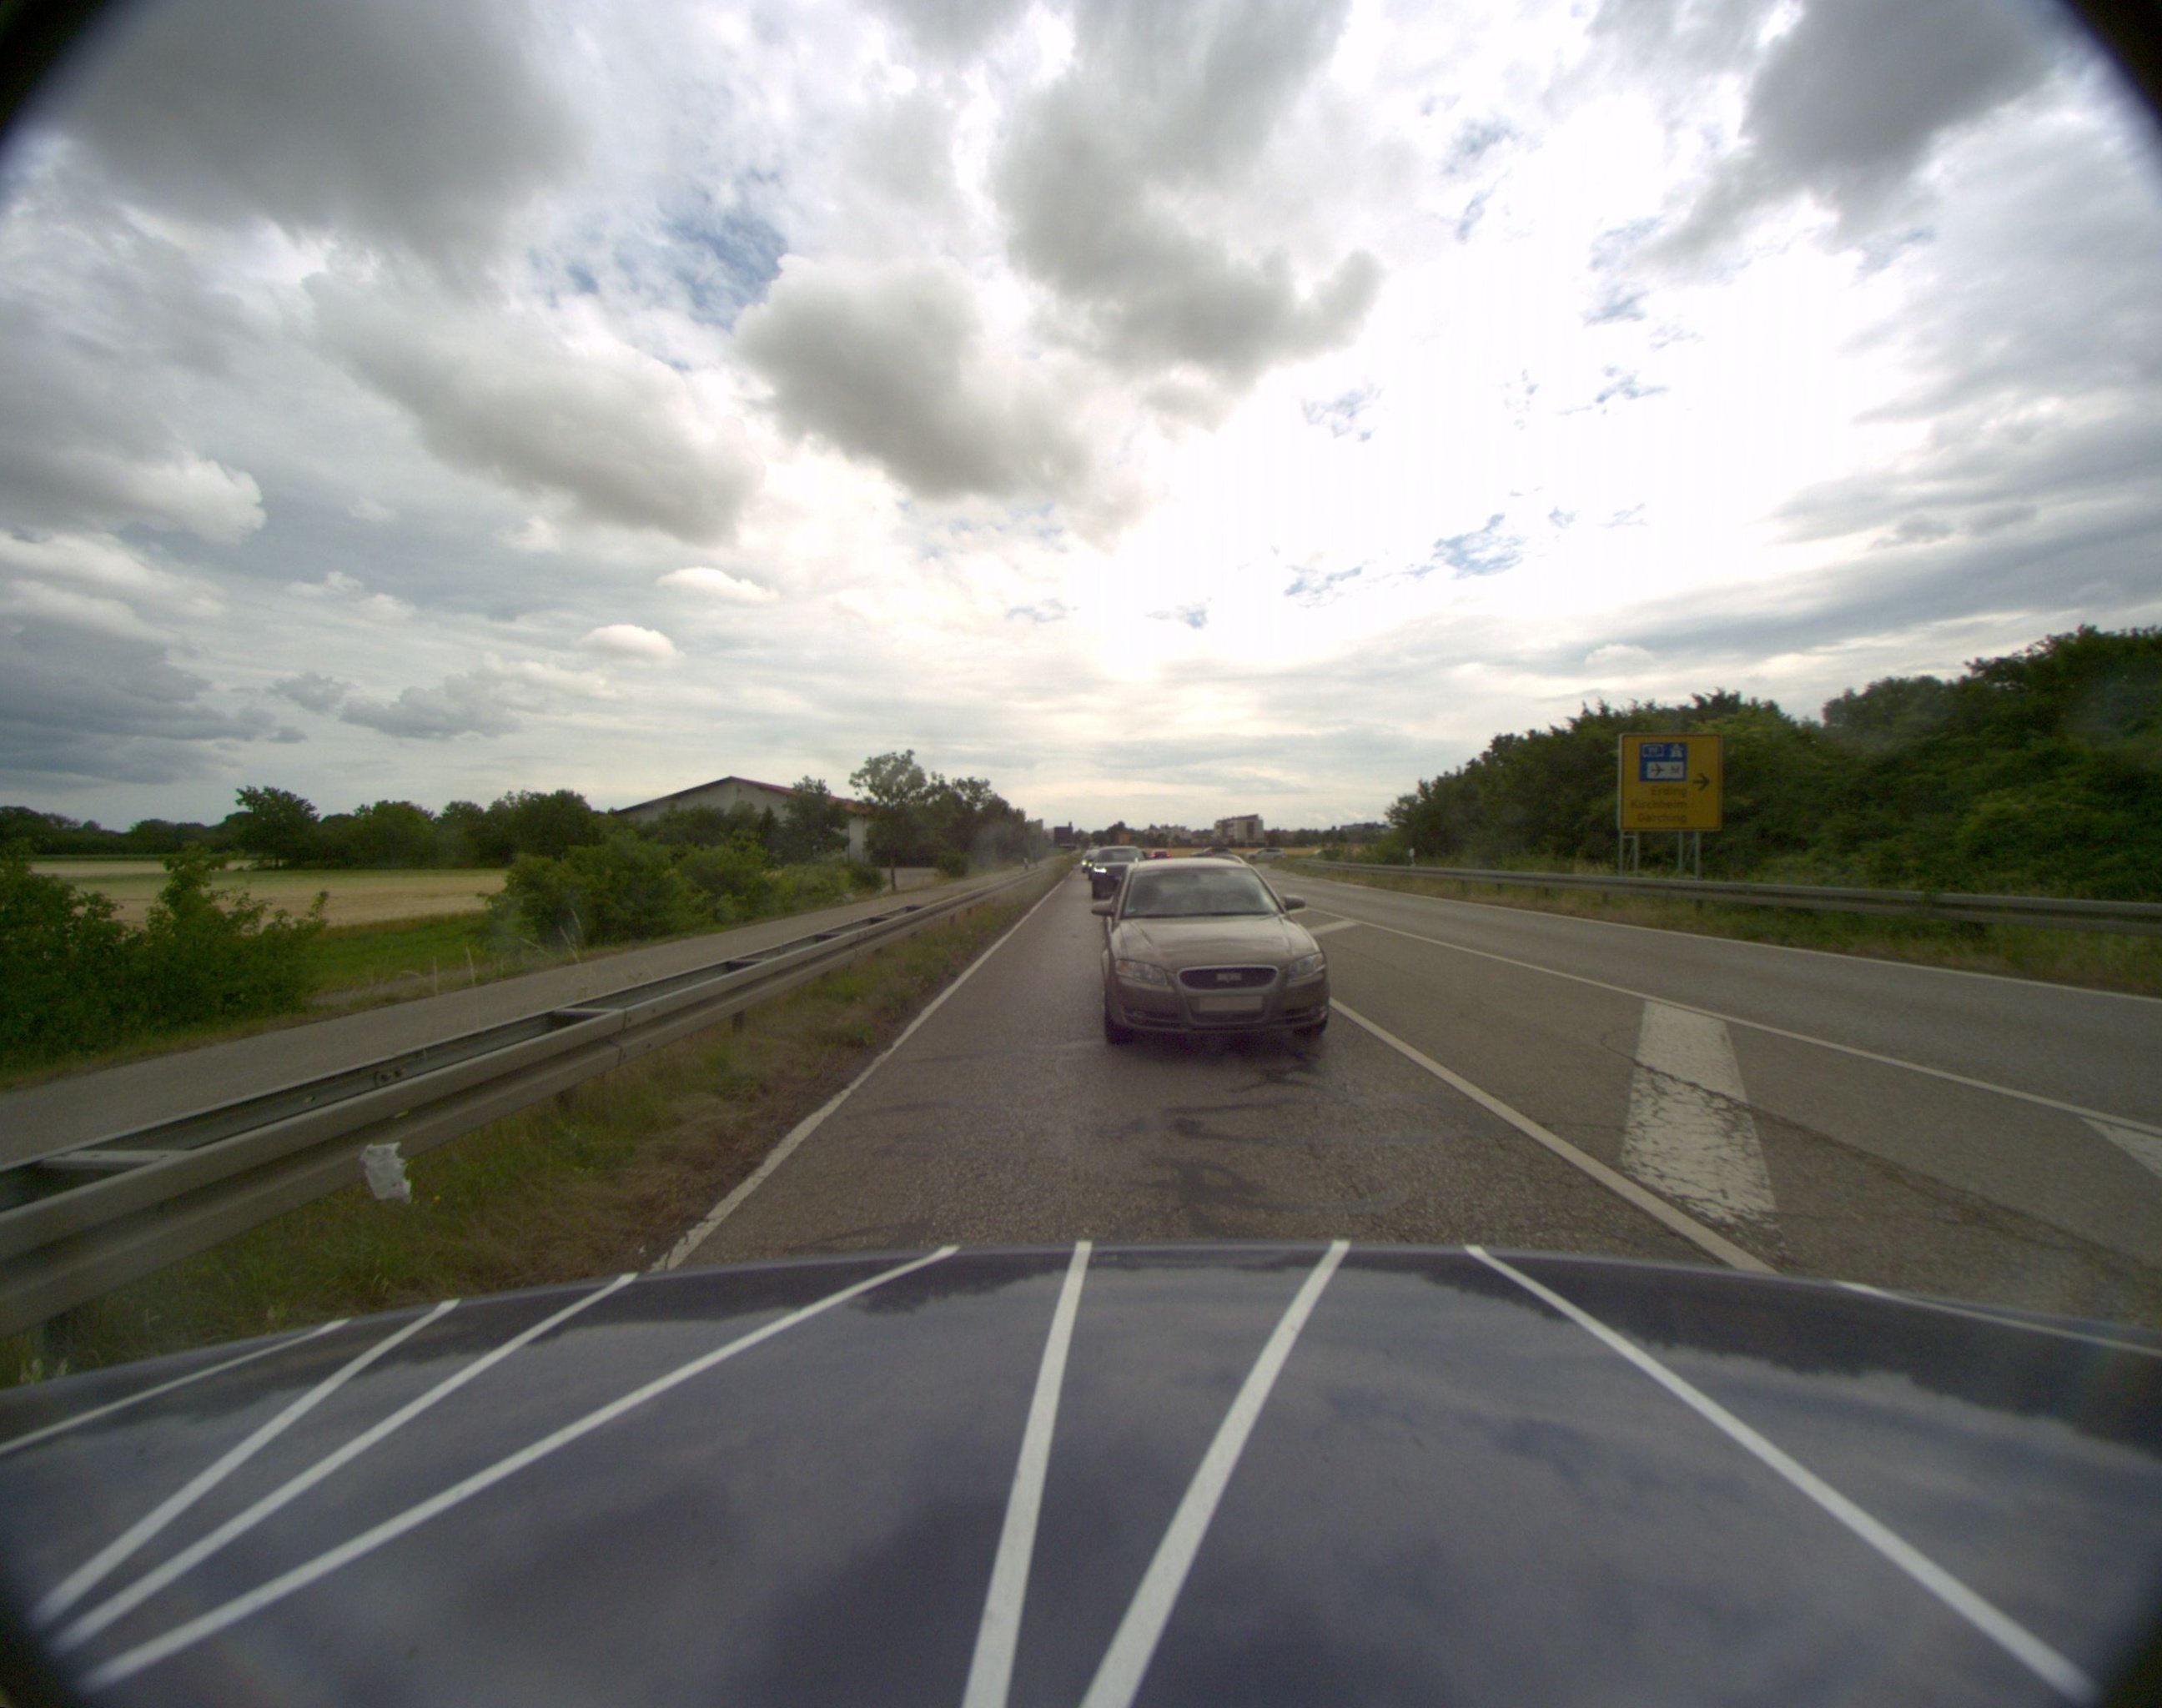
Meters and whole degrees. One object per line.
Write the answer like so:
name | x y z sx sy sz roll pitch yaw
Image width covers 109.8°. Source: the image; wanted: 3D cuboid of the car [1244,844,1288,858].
car | 20.808 -0.371 85.742 4.672 1.490 2.001 -1 1 11

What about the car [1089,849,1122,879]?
car | 1.327 0.517 42.379 1.730 1.478 4.204 -2 1 1

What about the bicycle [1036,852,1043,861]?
bicycle | -4.922 0.271 89.997 0.640 0.973 2.072 -1 1 1

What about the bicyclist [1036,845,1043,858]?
bicyclist | -4.929 -0.270 89.966 0.640 1.573 0.969 -1 1 1

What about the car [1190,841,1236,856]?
car | 14.858 -0.631 85.906 4.815 1.680 1.999 -1 1 -3

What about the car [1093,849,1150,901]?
car | 1.301 0.641 25.765 1.730 1.534 4.204 -2 1 1

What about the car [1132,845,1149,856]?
car | 8.722 -0.508 111.955 1.999 1.481 3.837 -1 1 -3

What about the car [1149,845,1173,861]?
car | 7.673 -0.125 73.124 1.804 1.442 4.445 -1 1 0

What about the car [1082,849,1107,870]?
car | 0.973 0.392 56.255 1.730 1.436 4.204 -2 1 1

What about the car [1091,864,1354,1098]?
car | 0.971 0.874 7.149 1.730 1.436 4.204 -1 1 1
